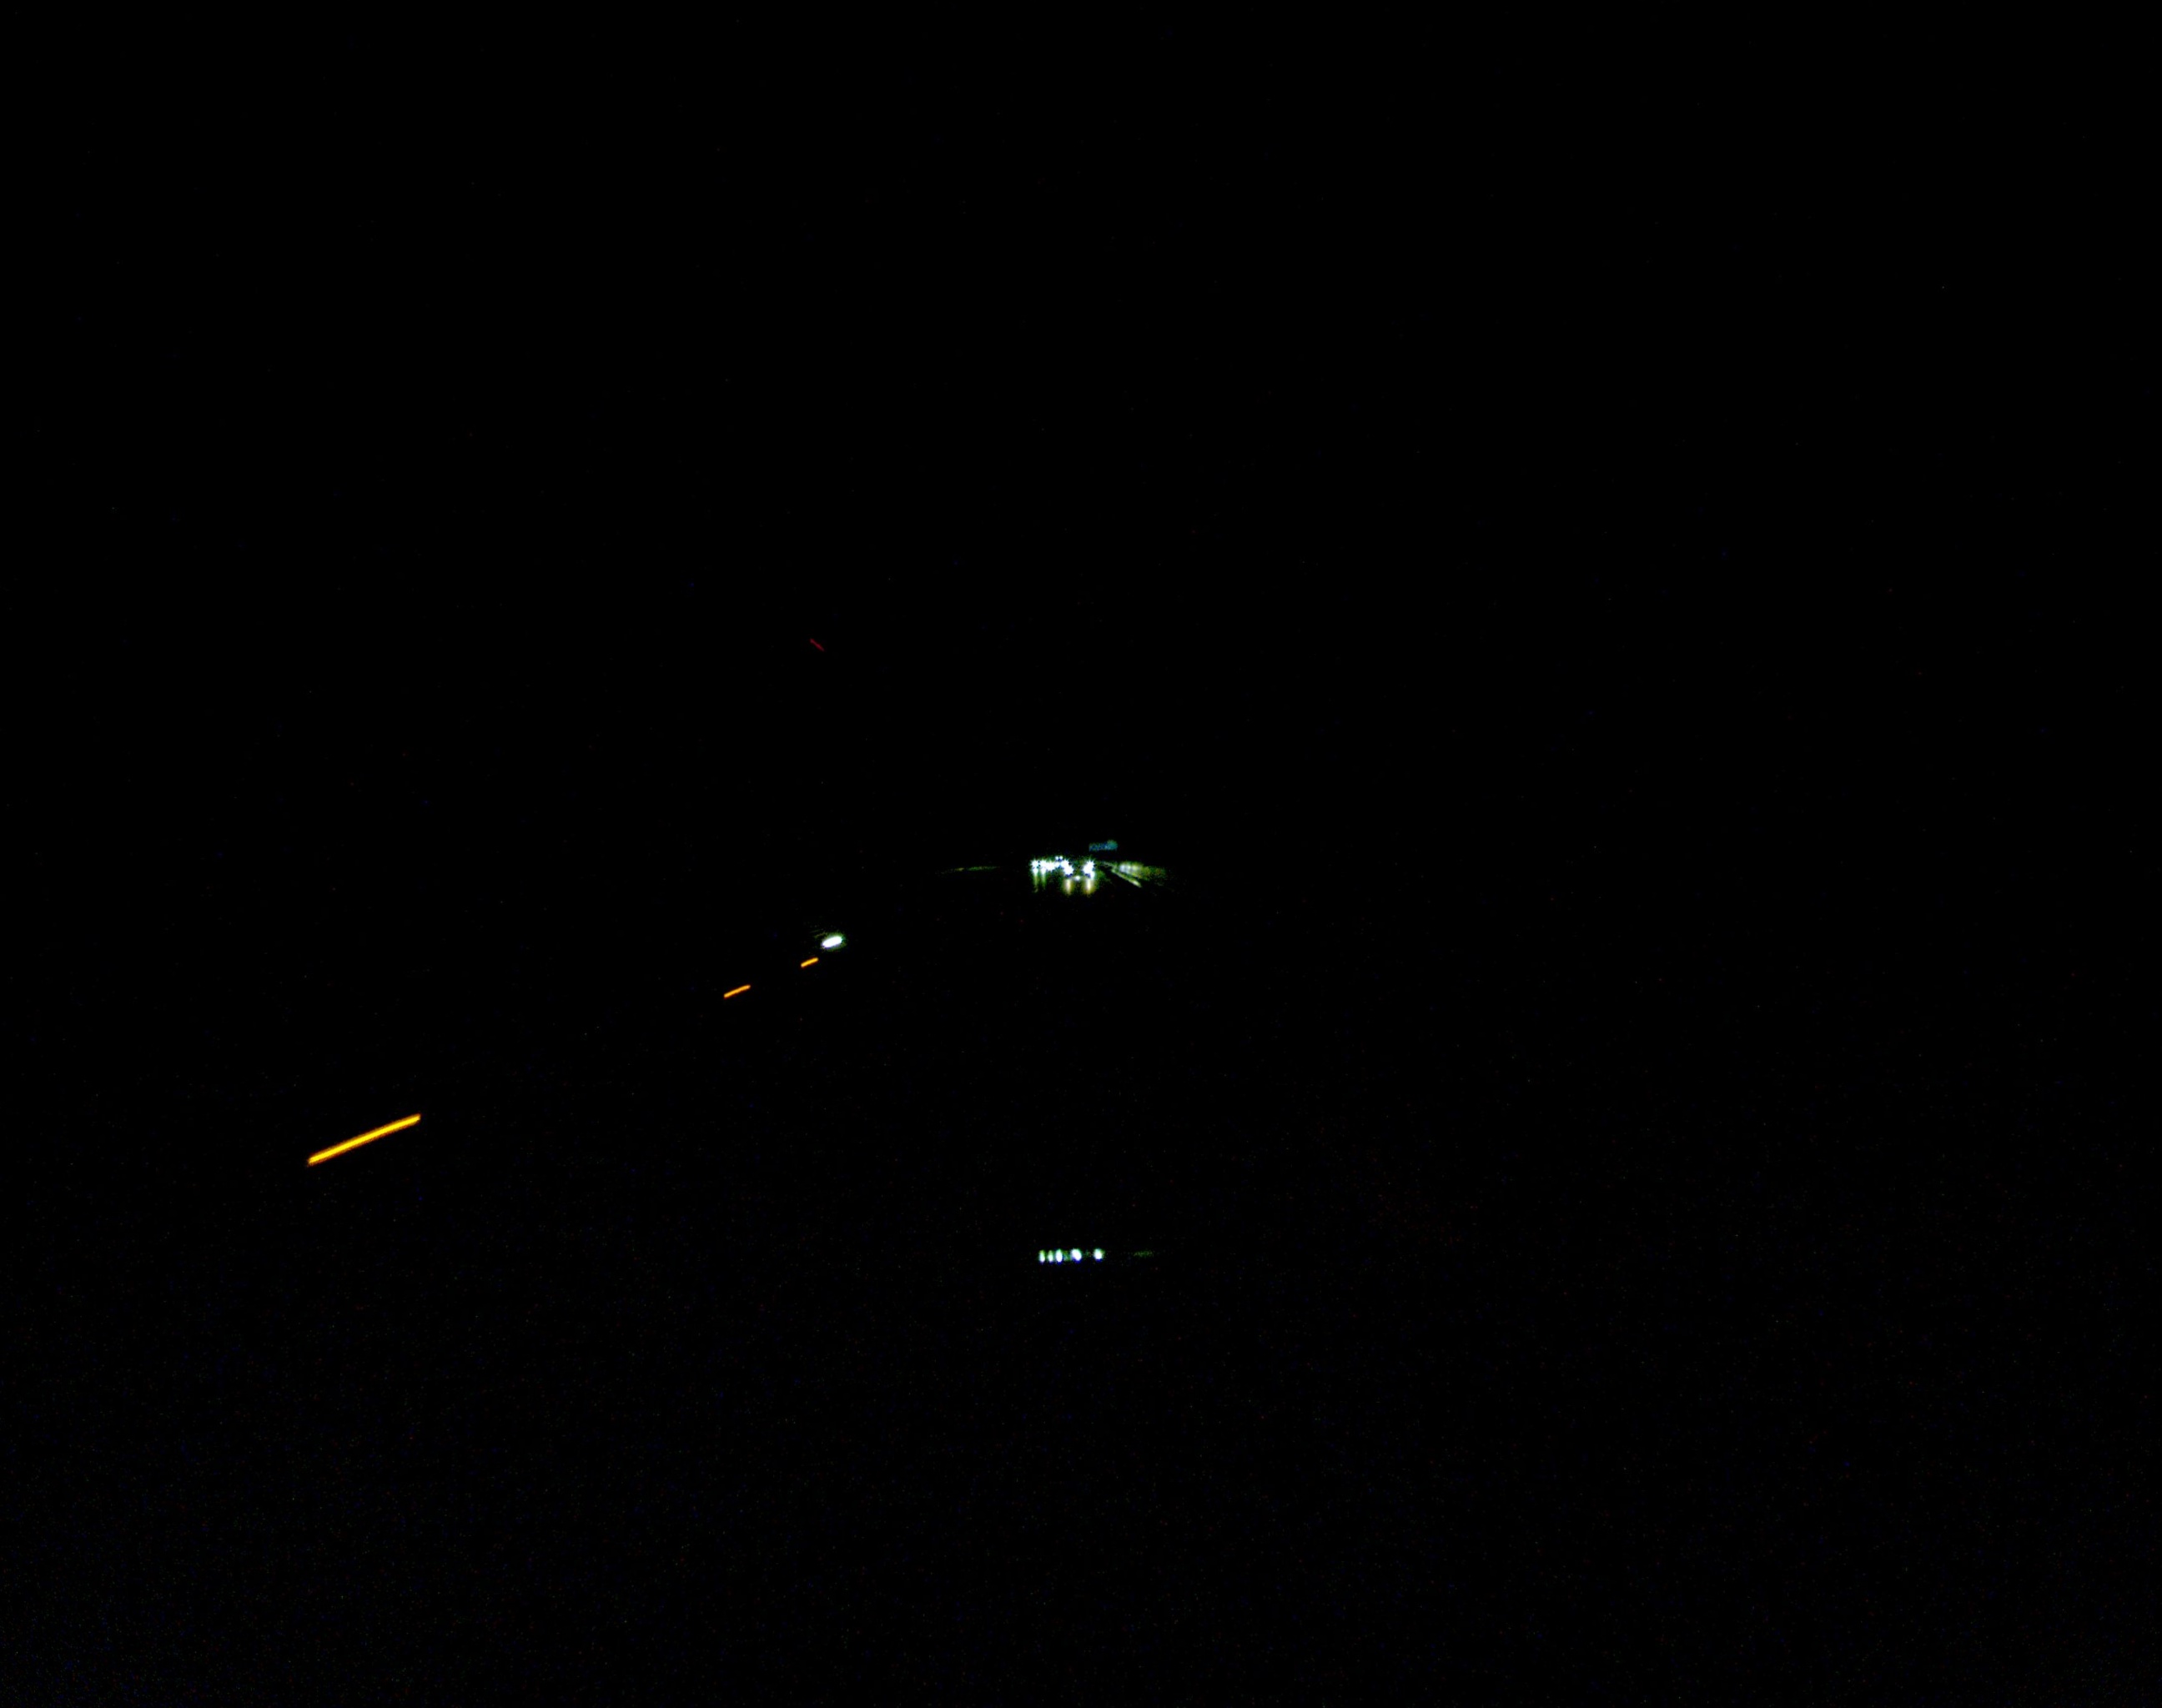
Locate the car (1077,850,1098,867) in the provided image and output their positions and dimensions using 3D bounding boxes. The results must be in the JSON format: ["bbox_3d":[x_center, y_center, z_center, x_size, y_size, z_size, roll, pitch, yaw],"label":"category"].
[{"bbox_3d":[0.747,0.487,83.167,2.012,1.652,4.001,-6,-1,1],"label":"car"}]

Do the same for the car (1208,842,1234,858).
[{"bbox_3d":[16.388,-0.435,89.413,1.998,1.626,4.748,-5,-1,-1],"label":"car"}]

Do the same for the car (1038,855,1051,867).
[{"bbox_3d":[-6.312,1.249,132.437,1.999,1.707,5.168,-6,-1,-1],"label":"car"}]

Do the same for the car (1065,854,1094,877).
[{"bbox_3d":[-0.165,0.823,54.267,1.840,1.392,5.069,-6,-1,-2],"label":"car"}]

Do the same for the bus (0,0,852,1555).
[{"bbox_3d":[-3.932,-0.284,0.723,2.659,3.971,14.700,-3,1,0],"label":"bus"}]

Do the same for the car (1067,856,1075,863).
[{"bbox_3d":[-2.675,1.481,198.370,1.939,1.608,4.000,-6,-1,0],"label":"car"}]

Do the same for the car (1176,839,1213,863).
[{"bbox_3d":[9.034,-0.186,60.910,1.998,1.626,4.748,-5,-1,-1],"label":"car"}]
